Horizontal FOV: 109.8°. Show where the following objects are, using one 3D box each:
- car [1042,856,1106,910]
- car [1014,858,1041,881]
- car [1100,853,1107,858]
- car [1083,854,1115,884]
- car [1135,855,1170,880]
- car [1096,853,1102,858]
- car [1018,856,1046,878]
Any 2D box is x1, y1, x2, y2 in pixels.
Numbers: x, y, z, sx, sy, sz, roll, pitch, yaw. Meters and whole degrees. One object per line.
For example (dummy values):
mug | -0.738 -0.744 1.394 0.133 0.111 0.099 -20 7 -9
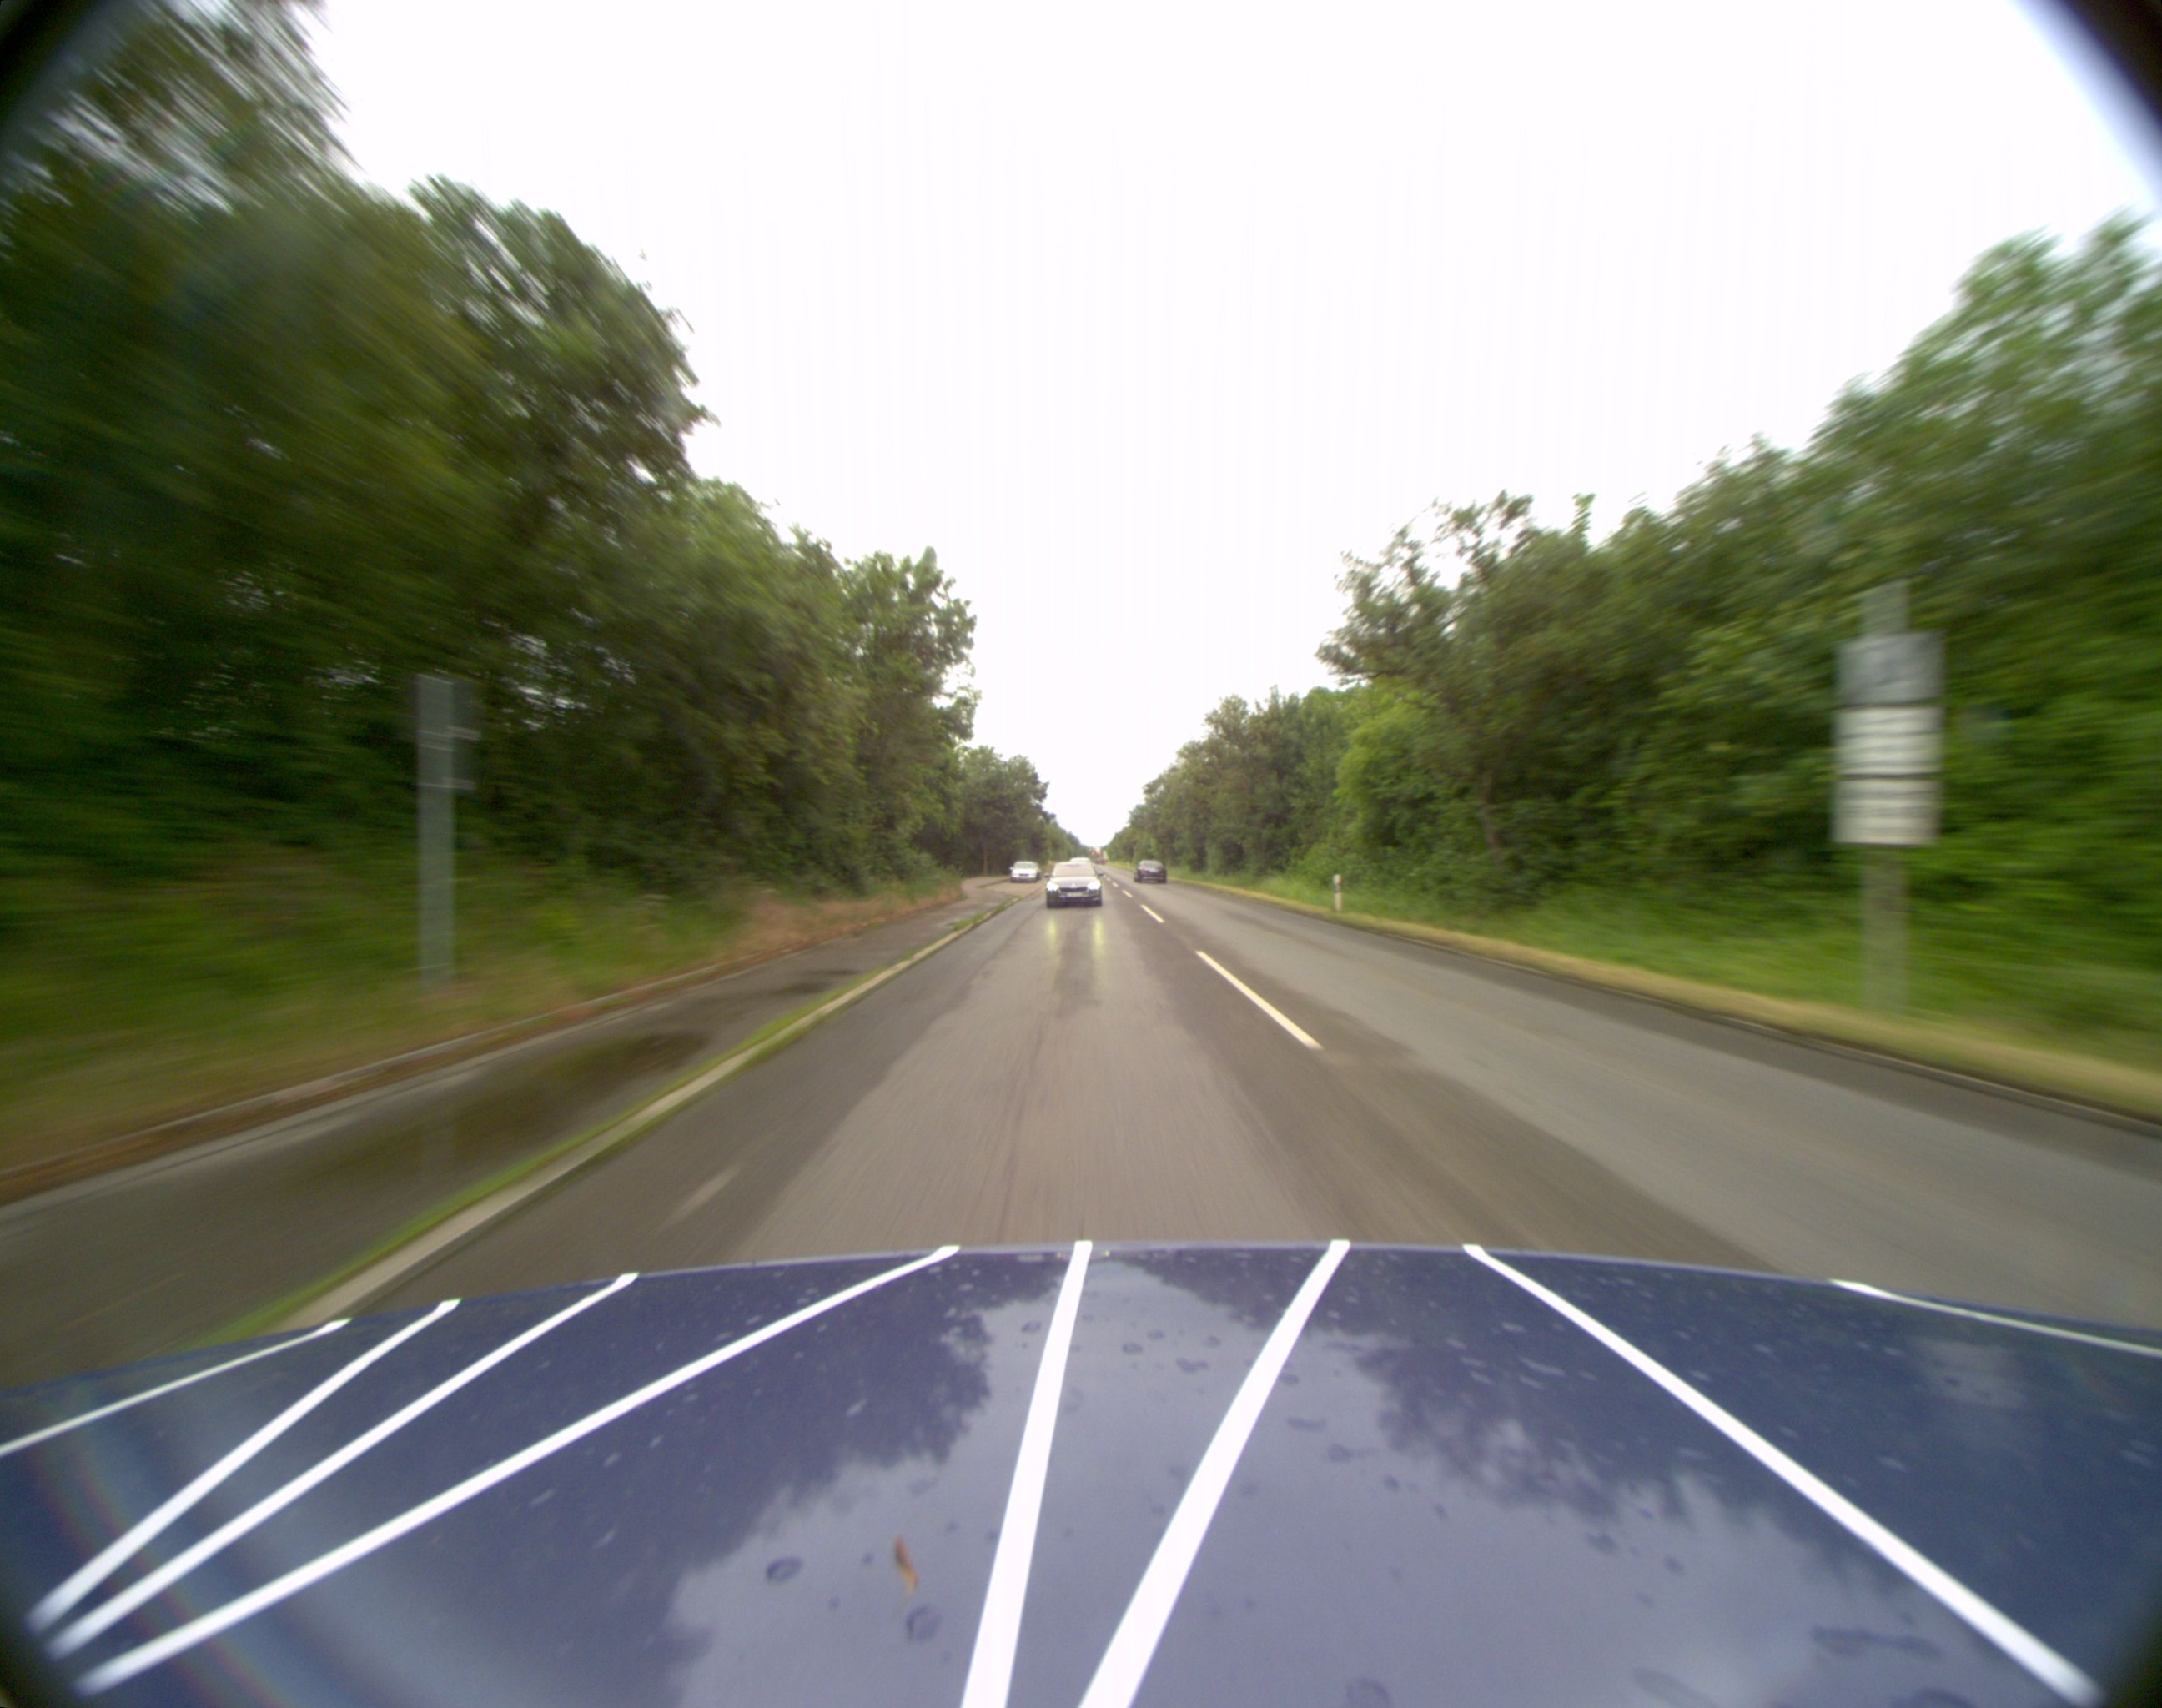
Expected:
car | -0.212 0.888 25.579 1.915 1.543 4.354 -3 0 0
car | -3.722 1.047 52.907 1.749 1.460 4.218 1 1 -4
car | 6.185 0.437 209.806 1.793 1.465 3.623 1 1 0
car | 1.124 0.932 48.785 1.915 1.690 3.913 -3 1 0
car | 4.612 0.828 49.574 1.876 1.480 4.573 2 1 0
car | 5.816 0.404 243.651 1.793 1.465 3.623 1 1 0
car | -3.749 0.976 58.886 1.810 1.501 4.667 1 0 0
